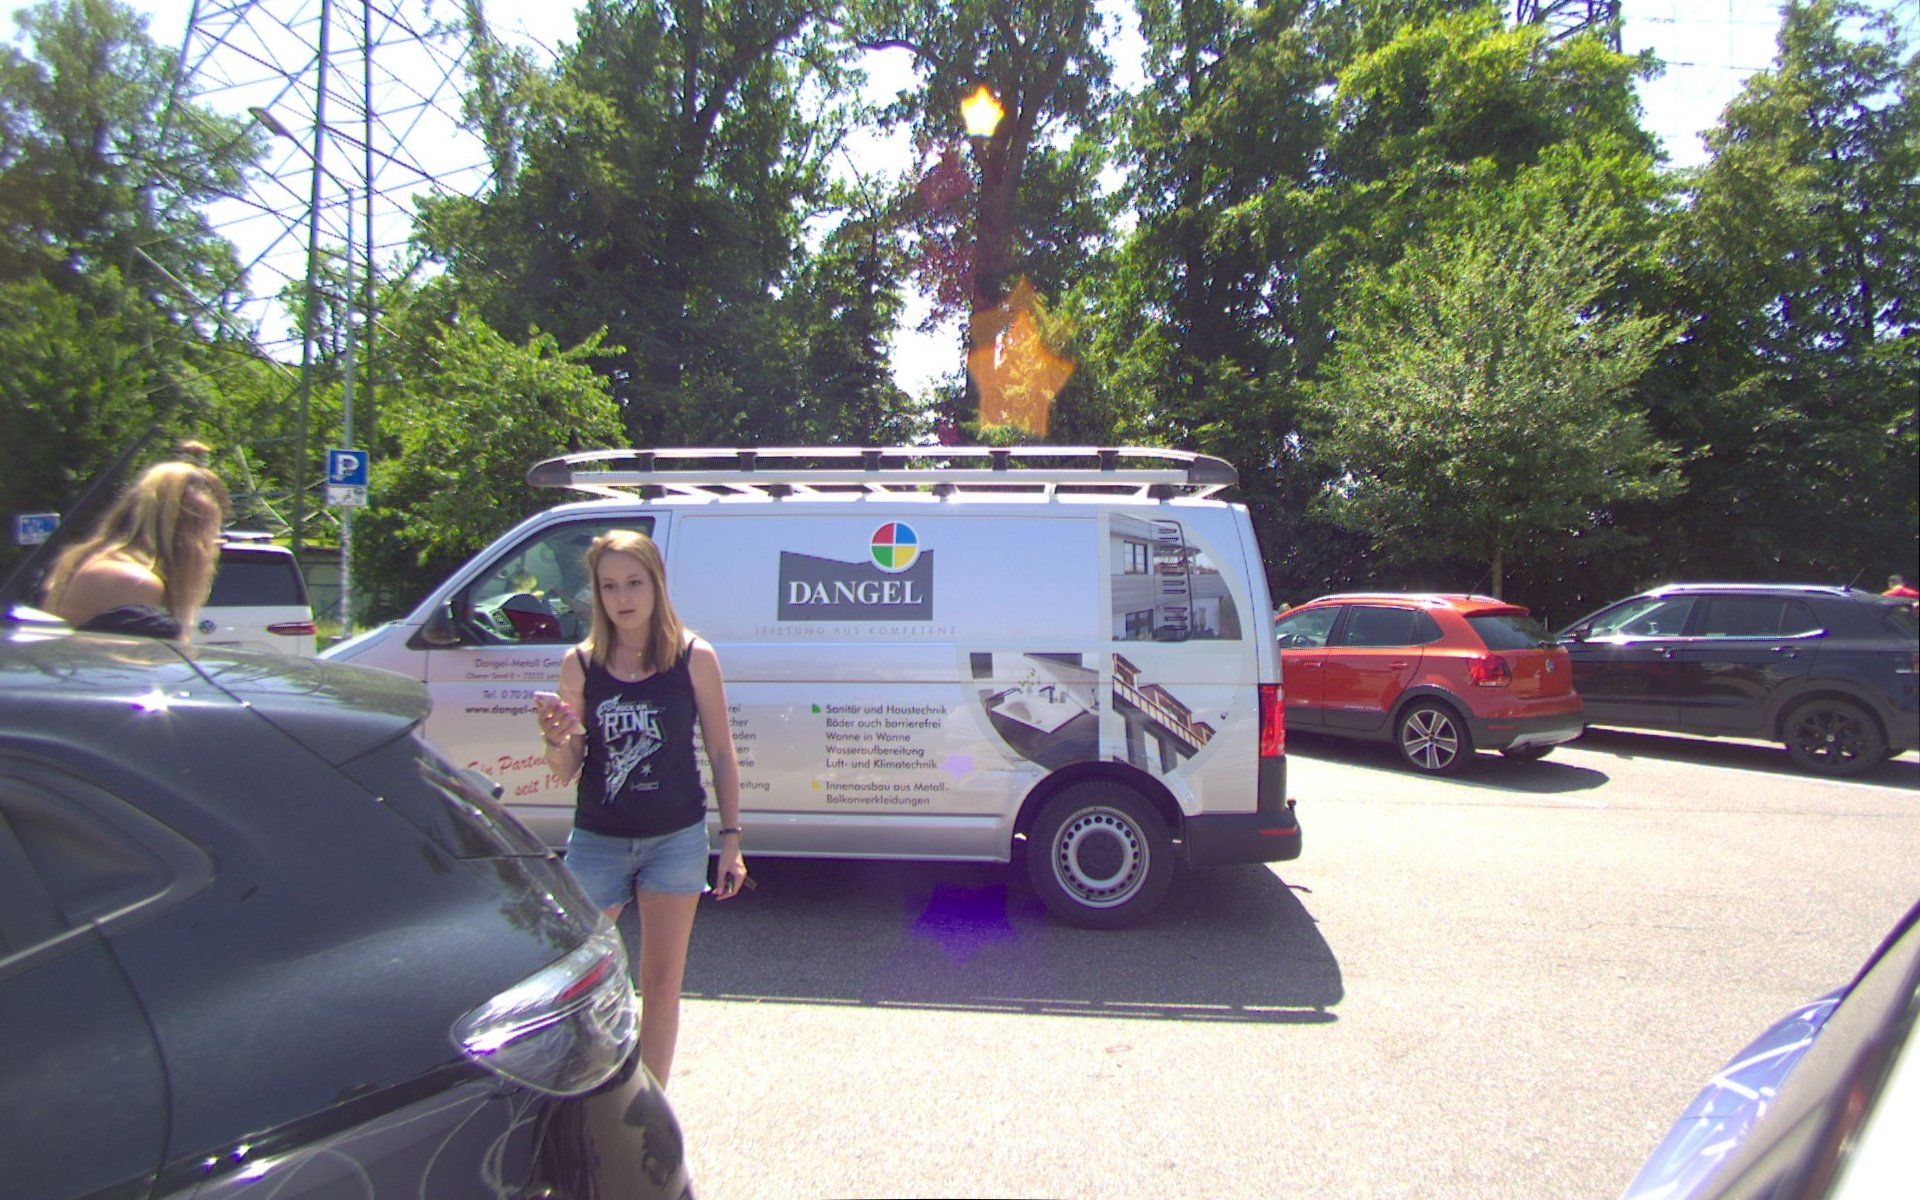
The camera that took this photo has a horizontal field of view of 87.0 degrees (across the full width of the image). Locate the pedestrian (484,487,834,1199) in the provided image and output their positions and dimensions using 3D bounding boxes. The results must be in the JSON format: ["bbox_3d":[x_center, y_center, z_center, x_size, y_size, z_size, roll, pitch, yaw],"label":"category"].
[{"bbox_3d":[-0.755,0.577,2.492,0.642,1.606,0.649,1,-1,-34],"label":"pedestrian"}]

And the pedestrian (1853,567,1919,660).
[{"bbox_3d":[13.787,0.196,14.710,0.846,1.316,0.894,1,-1,-18],"label":"pedestrian"}]

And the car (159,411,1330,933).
[{"bbox_3d":[-0.996,0.264,5.441,5.218,2.177,1.997,1,-1,5],"label":"car"}]

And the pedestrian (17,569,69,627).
[{"bbox_3d":[-22.322,-0.042,24.637,0.599,1.391,0.705,1,-1,15],"label":"pedestrian"}]

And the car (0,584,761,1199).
[{"bbox_3d":[-2.129,0.718,0.577,1.615,1.503,3.706,0,-1,44],"label":"car"}]

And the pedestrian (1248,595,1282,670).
[{"bbox_3d":[5.761,0.600,19.133,0.495,1.393,0.491,1,-1,0],"label":"pedestrian"}]

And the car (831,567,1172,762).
[{"bbox_3d":[0.216,0.501,10.540,1.717,1.611,3.961,0,1,-30],"label":"car"}]

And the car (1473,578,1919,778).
[{"bbox_3d":[7.238,0.578,9.664,1.727,1.566,3.806,0,1,-39],"label":"car"}]

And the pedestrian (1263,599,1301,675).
[{"bbox_3d":[5.687,0.641,17.885,0.495,1.316,0.491,1,-1,0],"label":"pedestrian"}]

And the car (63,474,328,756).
[{"bbox_3d":[-8.067,0.088,10.616,1.885,2.353,4.089,0,1,-40],"label":"car"}]

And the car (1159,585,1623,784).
[{"bbox_3d":[3.846,0.606,9.632,1.604,1.476,3.810,0,1,-34],"label":"car"}]

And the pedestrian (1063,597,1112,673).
[{"bbox_3d":[2.119,0.578,16.847,0.660,1.235,0.682,1,-2,-5],"label":"pedestrian"}]

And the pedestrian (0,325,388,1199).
[{"bbox_3d":[-1.901,0.437,2.387,0.760,1.896,0.915,1,-1,-41],"label":"pedestrian"}]
